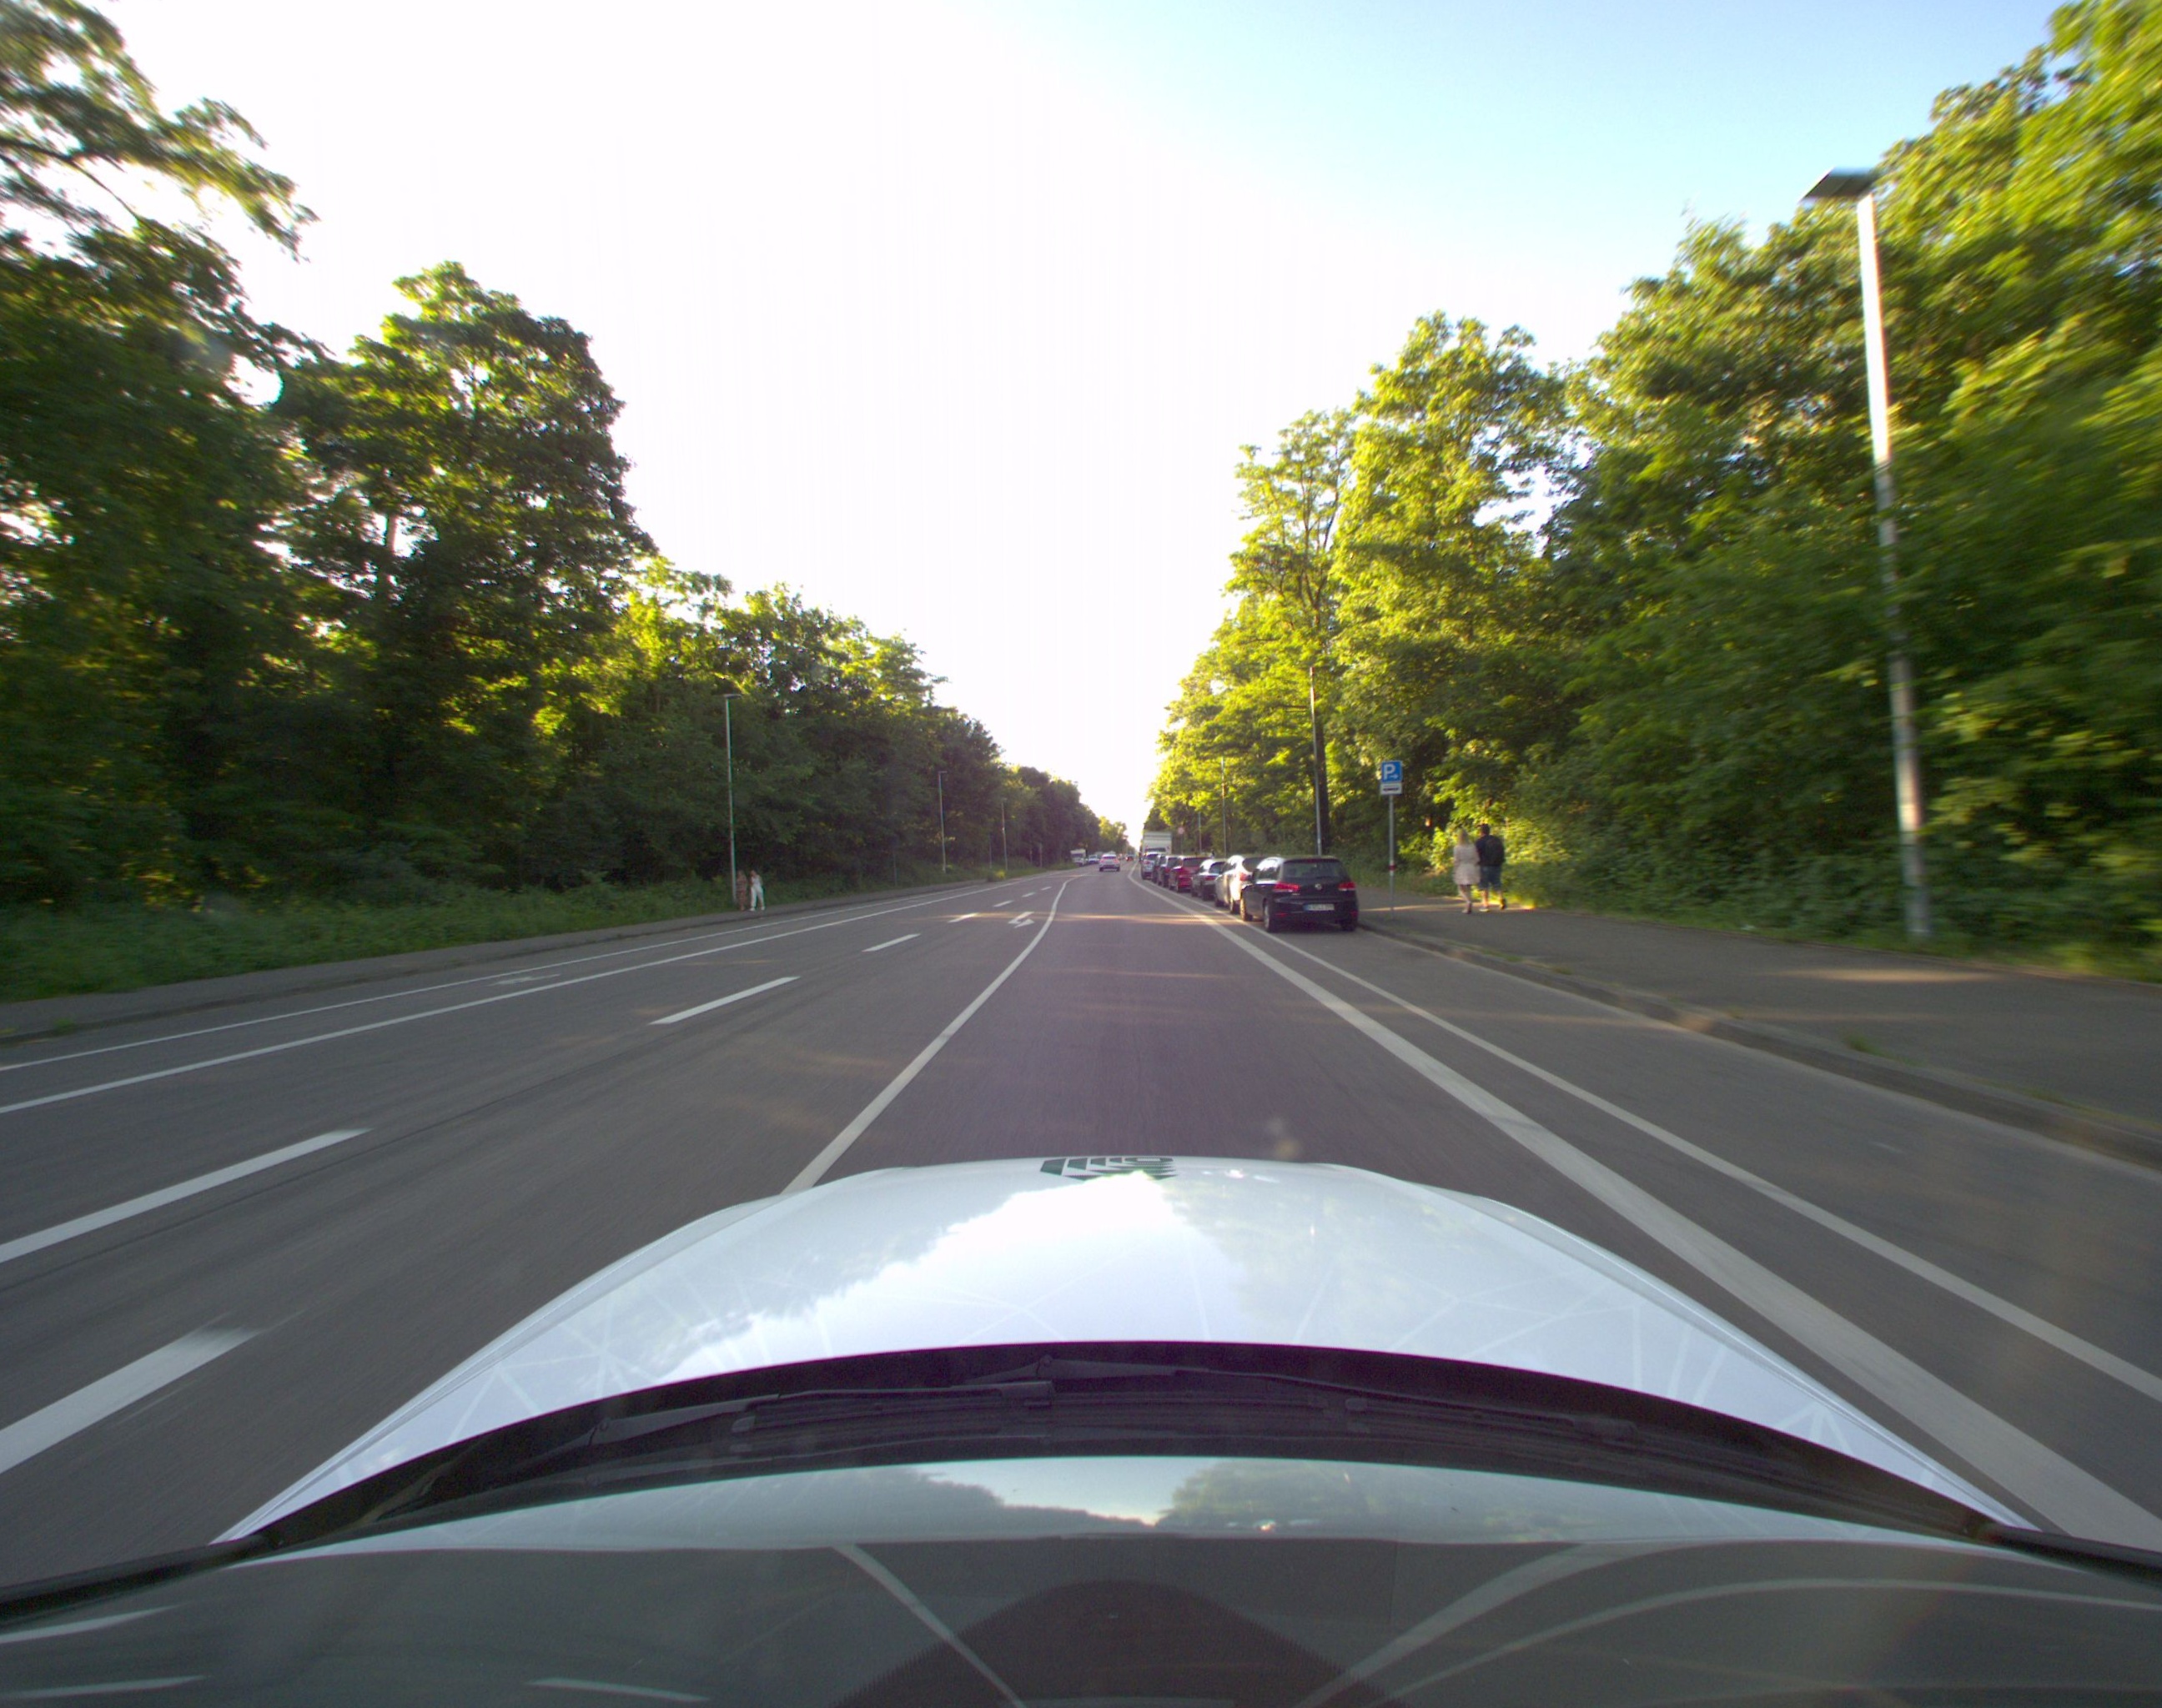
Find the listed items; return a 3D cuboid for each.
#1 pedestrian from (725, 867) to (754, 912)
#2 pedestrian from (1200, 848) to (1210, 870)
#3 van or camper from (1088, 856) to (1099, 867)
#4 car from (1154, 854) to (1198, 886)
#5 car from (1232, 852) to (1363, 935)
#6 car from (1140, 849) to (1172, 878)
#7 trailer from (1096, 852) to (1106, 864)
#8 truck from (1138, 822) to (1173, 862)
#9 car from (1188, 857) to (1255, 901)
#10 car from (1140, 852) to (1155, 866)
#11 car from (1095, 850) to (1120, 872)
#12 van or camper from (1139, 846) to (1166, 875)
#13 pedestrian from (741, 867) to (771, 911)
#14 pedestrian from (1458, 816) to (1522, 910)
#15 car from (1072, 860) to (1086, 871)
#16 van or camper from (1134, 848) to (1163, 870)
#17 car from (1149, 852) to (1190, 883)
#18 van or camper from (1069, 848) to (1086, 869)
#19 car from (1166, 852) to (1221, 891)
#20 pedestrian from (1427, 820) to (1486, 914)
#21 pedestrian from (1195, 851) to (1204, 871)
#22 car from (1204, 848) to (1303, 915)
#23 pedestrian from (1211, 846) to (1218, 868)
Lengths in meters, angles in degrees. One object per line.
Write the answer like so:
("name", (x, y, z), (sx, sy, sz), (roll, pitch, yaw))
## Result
("pedestrian", (-13.202, 1.369, 31.492), (0.671, 1.653, 0.792), (-3, 0, 8))
("pedestrian", (9.988, 0.400, 65.402), (0.615, 1.764, 0.907), (-3, -1, 3))
("van or camper", (2.491, 1.497, 164.064), (1.828, 1.911, 4.860), (-4, -1, 4))
("car", (4.414, 0.733, 38.148), (1.589, 1.401, 3.798), (-1, 0, 0))
("car", (4.354, 0.728, 17.014), (1.651, 1.452, 4.020), (-3, 0, 0))
("car", (4.471, 0.557, 48.863), (1.790, 1.595, 4.034), (-3, 0, 5))
("trailer", (4.609, 0.858, 187.429), (1.984, 2.597, 4.421), (-5, -1, 4))
("truck", (6.927, -1.062, 76.600), (2.820, 3.497, 8.586), (-3, 0, 3))
("car", (4.629, 0.787, 27.328), (1.623, 1.319, 3.841), (-2, 0, 1))
("car", (8.303, 0.650, 101.247), (1.703, 1.665, 4.558), (0, 0, 5))
("car", (2.427, 0.614, 74.323), (2.019, 1.840, 4.034), (-3, 0, 4))
("van or camper", (5.351, 0.450, 61.059), (1.889, 2.013, 4.592), (-3, 0, 5))
("pedestrian", (-12.524, 1.347, 31.393), (0.671, 1.653, 0.792), (-3, 0, 8))
("pedestrian", (8.215, 0.171, 16.399), (0.673, 1.799, 0.952), (-4, 0, -2))
("car", (-0.315, 1.662, 122.910), (1.821, 1.476, 4.682), (-4, 0, 1))
("van or camper", (9.453, 0.689, 113.751), (2.421, 2.799, 6.587), (-3, 0, 18))
("car", (4.625, 0.672, 43.171), (1.800, 1.519, 4.506), (0, 0, 2))
("van or camper", (-0.505, 0.736, 130.020), (2.306, 2.970, 7.114), (-5, 0, 2))
("car", (4.451, 0.683, 32.722), (1.612, 1.469, 3.722), (0, 0, -2))
("pedestrian", (7.500, 0.253, 16.296), (0.673, 1.799, 0.789), (-4, 0, -2))
("pedestrian", (9.188, 0.542, 63.047), (0.561, 1.588, 0.482), (-3, -1, 3))
("car", (4.485, 0.669, 21.763), (1.731, 1.525, 4.360), (-3, 0, 1))
("pedestrian", (9.954, 0.242, 60.861), (0.392, 1.588, 0.482), (-3, -1, 3))
